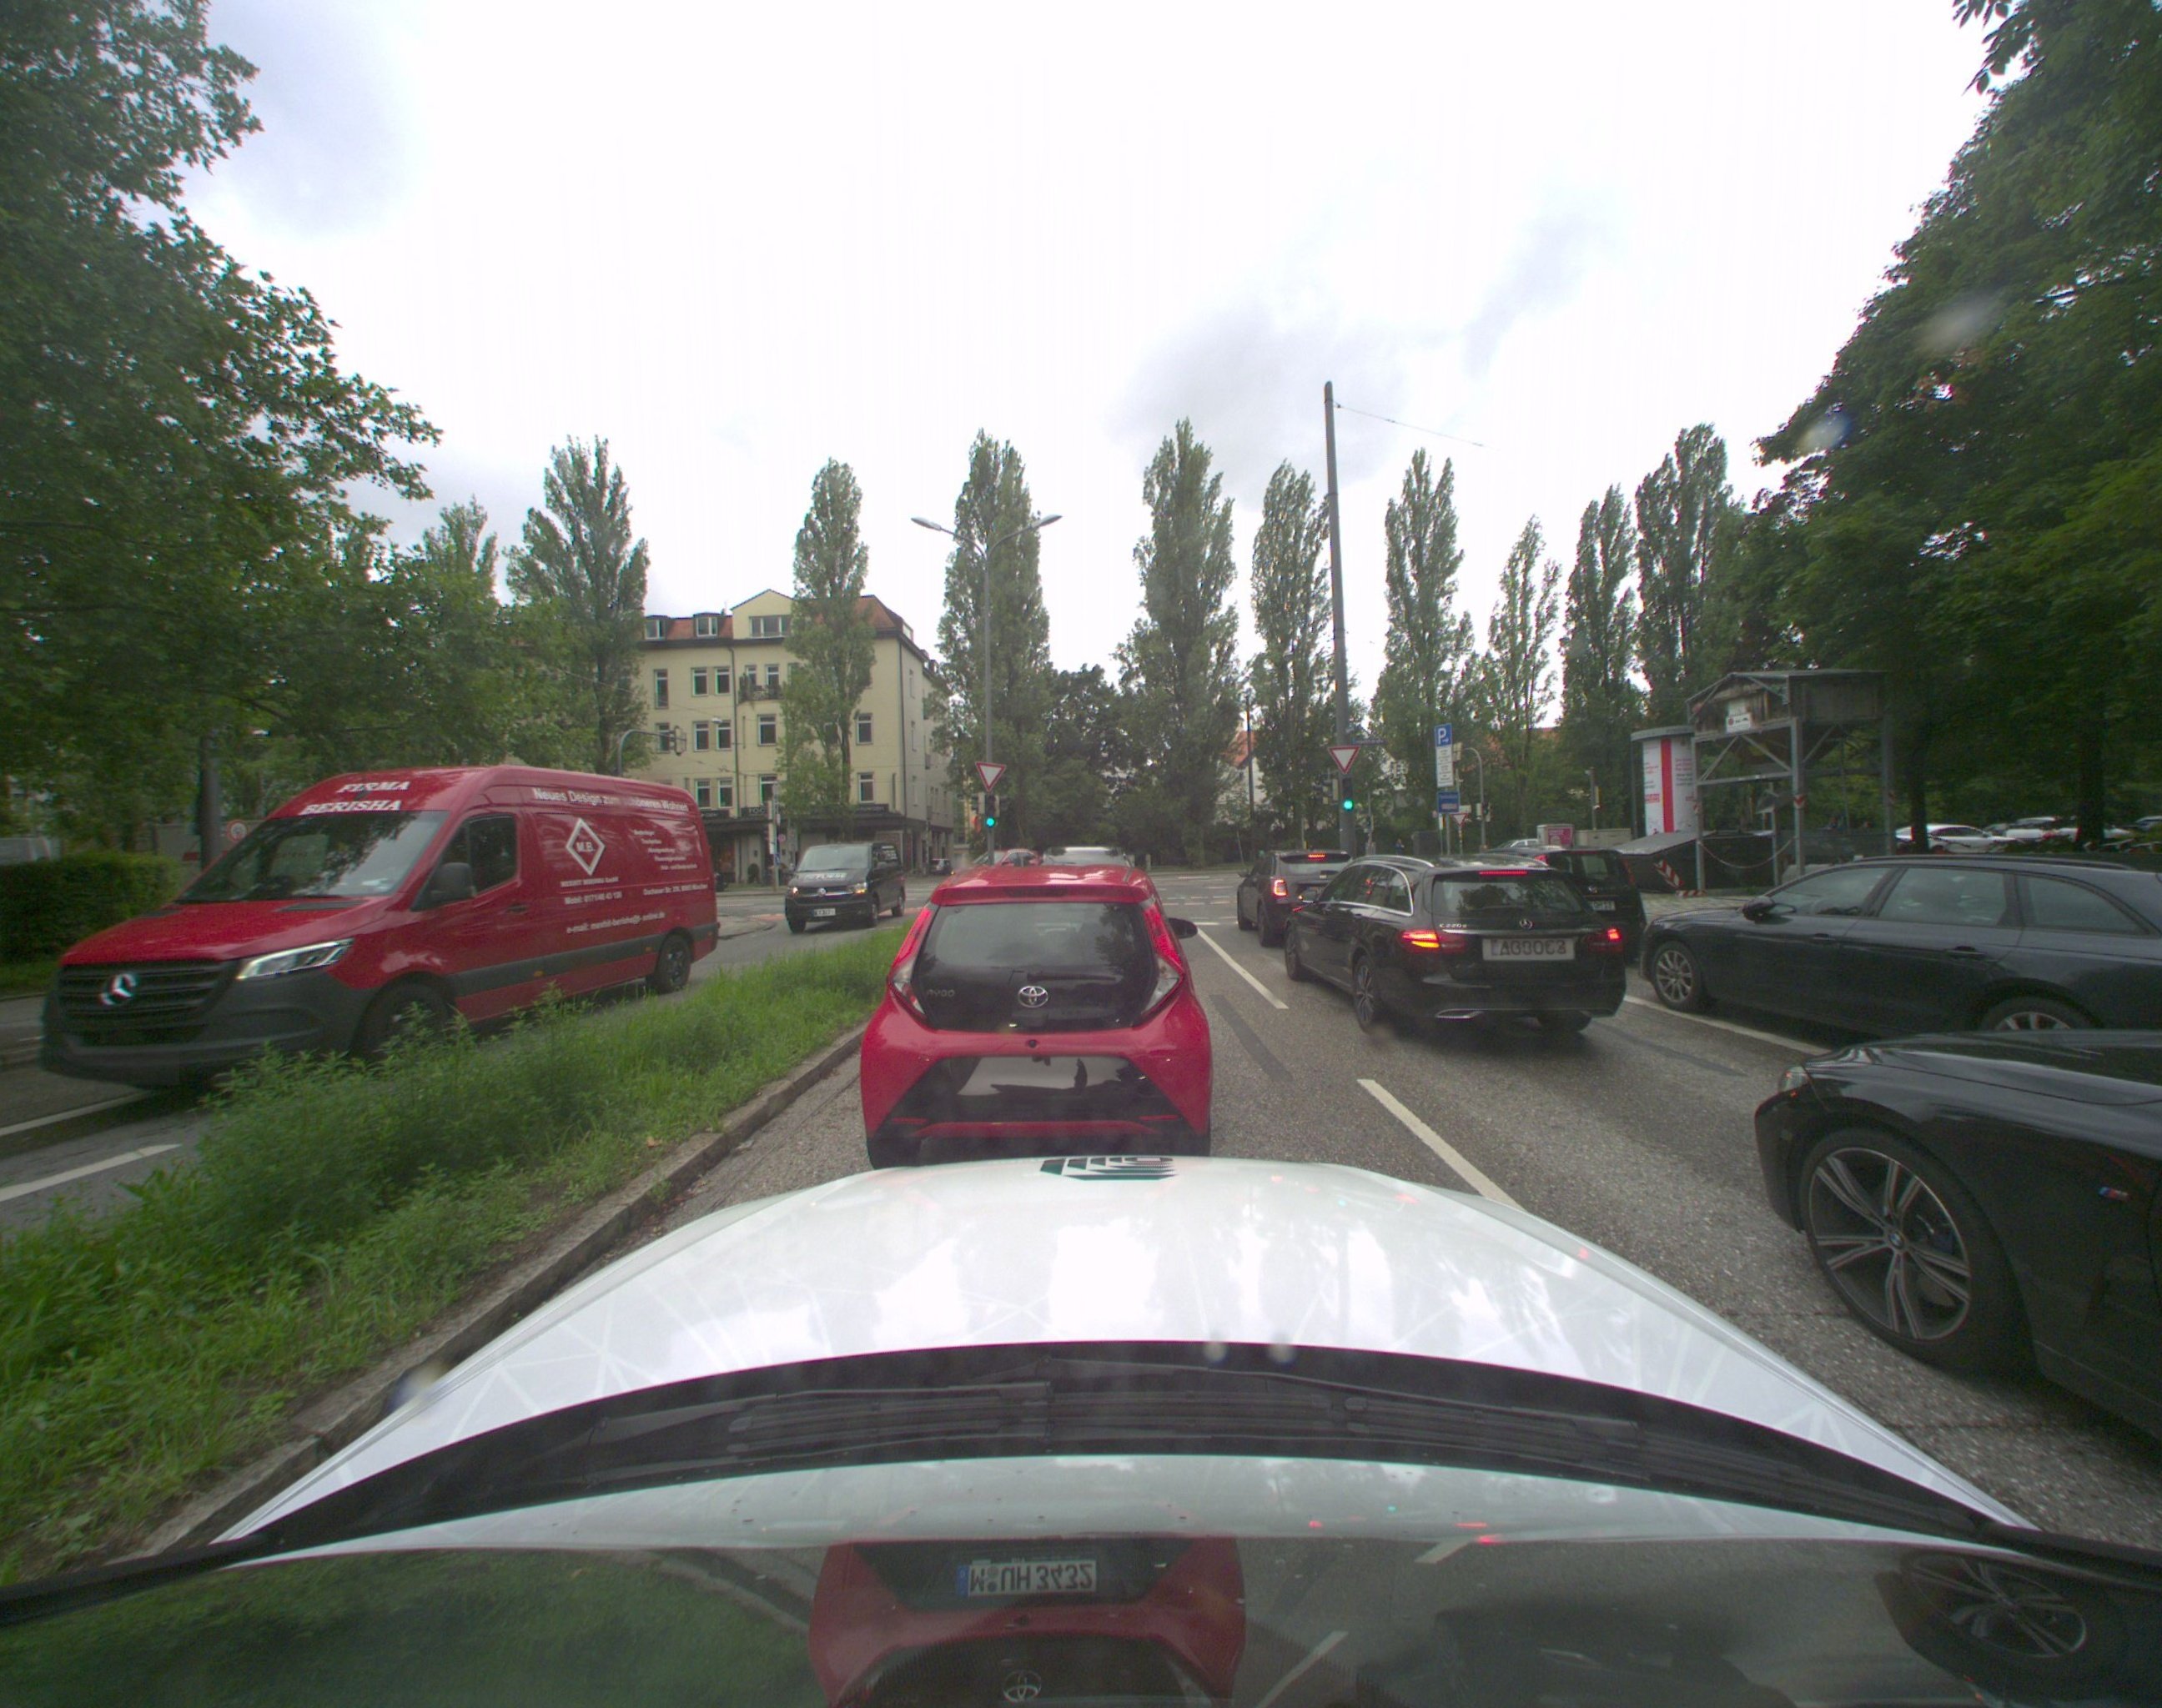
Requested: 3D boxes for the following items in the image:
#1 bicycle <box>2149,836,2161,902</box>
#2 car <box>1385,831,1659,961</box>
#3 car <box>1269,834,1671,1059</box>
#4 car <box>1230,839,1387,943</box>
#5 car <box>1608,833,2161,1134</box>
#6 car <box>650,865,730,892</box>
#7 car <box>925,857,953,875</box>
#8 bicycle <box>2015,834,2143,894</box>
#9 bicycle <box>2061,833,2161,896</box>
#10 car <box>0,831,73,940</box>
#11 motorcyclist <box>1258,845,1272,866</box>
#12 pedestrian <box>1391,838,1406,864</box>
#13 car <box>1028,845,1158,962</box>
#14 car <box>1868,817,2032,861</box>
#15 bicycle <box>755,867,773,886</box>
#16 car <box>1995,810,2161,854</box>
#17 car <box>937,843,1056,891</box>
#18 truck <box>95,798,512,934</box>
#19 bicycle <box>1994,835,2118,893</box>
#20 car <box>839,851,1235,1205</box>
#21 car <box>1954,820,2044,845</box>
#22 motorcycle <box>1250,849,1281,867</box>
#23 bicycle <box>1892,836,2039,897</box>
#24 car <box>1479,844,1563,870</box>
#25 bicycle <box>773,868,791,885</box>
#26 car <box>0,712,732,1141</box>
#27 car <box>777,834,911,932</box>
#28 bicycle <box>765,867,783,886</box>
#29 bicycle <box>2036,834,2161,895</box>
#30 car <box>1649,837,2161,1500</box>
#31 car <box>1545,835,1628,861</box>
[{"bbox_3d":[15.267,0.199,11.095,1.409,0.894,0.312,0,-1,-13],"label":"bicycle"},{"bbox_3d":[6.310,0.511,12.363,1.823,1.549,4.558,-2,0,3],"label":"car"},{"bbox_3d":[3.234,0.635,7.997,1.856,1.549,4.706,0,0,2],"label":"car"},{"bbox_3d":[3.765,0.565,14.179,1.773,1.486,4.003,-2,0,3],"label":"car"},{"bbox_3d":[6.224,0.624,5.907,1.762,1.461,4.641,-2,0,0],"label":"car"},{"bbox_3d":[-23.879,1.463,49.849,3.977,1.466,1.803,-2,-1,-3],"label":"car"},{"bbox_3d":[-12.137,0.994,69.672,1.721,1.442,3.997,-2,0,-2],"label":"car"},{"bbox_3d":[15.324,0.157,12.520,1.400,0.894,0.314,-1,-1,8],"label":"bicycle"},{"bbox_3d":[15.188,0.151,11.802,1.400,0.894,0.314,-1,-1,8],"label":"bicycle"},{"bbox_3d":[-22.390,0.826,14.899,1.975,2.013,4.658,-1,5,43],"label":"car"},{"bbox_3d":[12.370,0.108,54.808,0.874,1.443,0.622,-1,-1,7],"label":"motorcyclist"},{"bbox_3d":[20.255,-0.204,51.951,0.693,1.662,0.555,-1,-1,42],"label":"pedestrian"},{"bbox_3d":[0.283,0.666,13.468,1.728,1.549,4.580,-2,0,3],"label":"car"},{"bbox_3d":[31.743,-0.531,29.821,4.351,1.407,1.729,-2,0,-4],"label":"car"},{"bbox_3d":[-21.046,1.495,54.081,0.493,1.185,1.888,-2,0,-1],"label":"bicycle"},{"bbox_3d":[37.073,-0.801,30.312,4.351,1.407,1.729,-2,0,-4],"label":"car"},{"bbox_3d":[-3.359,0.495,33.482,2.083,1.637,4.972,-2,1,33],"label":"car"},{"bbox_3d":[-26.576,0.368,28.197,11.636,3.980,2.749,-2,1,1],"label":"truck"},{"bbox_3d":[15.374,0.160,12.856,1.400,0.894,0.314,-1,-1,8],"label":"bicycle"},{"bbox_3d":[-0.101,0.731,5.114,1.622,1.440,3.379,-2,0,3],"label":"car"},{"bbox_3d":[61.254,-1.441,54.391,4.117,1.486,1.785,-2,0,-3],"label":"car"},{"bbox_3d":[12.418,0.261,54.816,2.012,1.169,0.632,0,-1,7],"label":"motorcycle"},{"bbox_3d":[15.486,0.210,14.267,2.232,1.016,0.628,0,-1,-10],"label":"bicycle"},{"bbox_3d":[27.959,0.192,51.854,4.324,1.486,1.786,-2,0,0],"label":"car"},{"bbox_3d":[-19.825,1.493,54.036,0.493,1.081,1.888,-2,0,-1],"label":"bicycle"},{"bbox_3d":[-6.000,0.397,8.092,2.095,2.589,6.085,-3,1,2],"label":"car"},{"bbox_3d":[-5.457,0.602,19.425,1.852,1.990,4.702,-2,0,-2],"label":"car"},{"bbox_3d":[-20.350,1.489,53.992,0.493,1.185,1.888,-2,0,-1],"label":"bicycle"},{"bbox_3d":[15.251,0.154,12.175,1.400,0.894,0.314,-1,-1,8],"label":"bicycle"},{"bbox_3d":[3.138,0.672,0.940,1.717,1.389,4.801,-2,0,2],"label":"car"},{"bbox_3d":[32.528,-0.396,52.518,4.231,1.486,1.786,-2,0,0],"label":"car"}]
